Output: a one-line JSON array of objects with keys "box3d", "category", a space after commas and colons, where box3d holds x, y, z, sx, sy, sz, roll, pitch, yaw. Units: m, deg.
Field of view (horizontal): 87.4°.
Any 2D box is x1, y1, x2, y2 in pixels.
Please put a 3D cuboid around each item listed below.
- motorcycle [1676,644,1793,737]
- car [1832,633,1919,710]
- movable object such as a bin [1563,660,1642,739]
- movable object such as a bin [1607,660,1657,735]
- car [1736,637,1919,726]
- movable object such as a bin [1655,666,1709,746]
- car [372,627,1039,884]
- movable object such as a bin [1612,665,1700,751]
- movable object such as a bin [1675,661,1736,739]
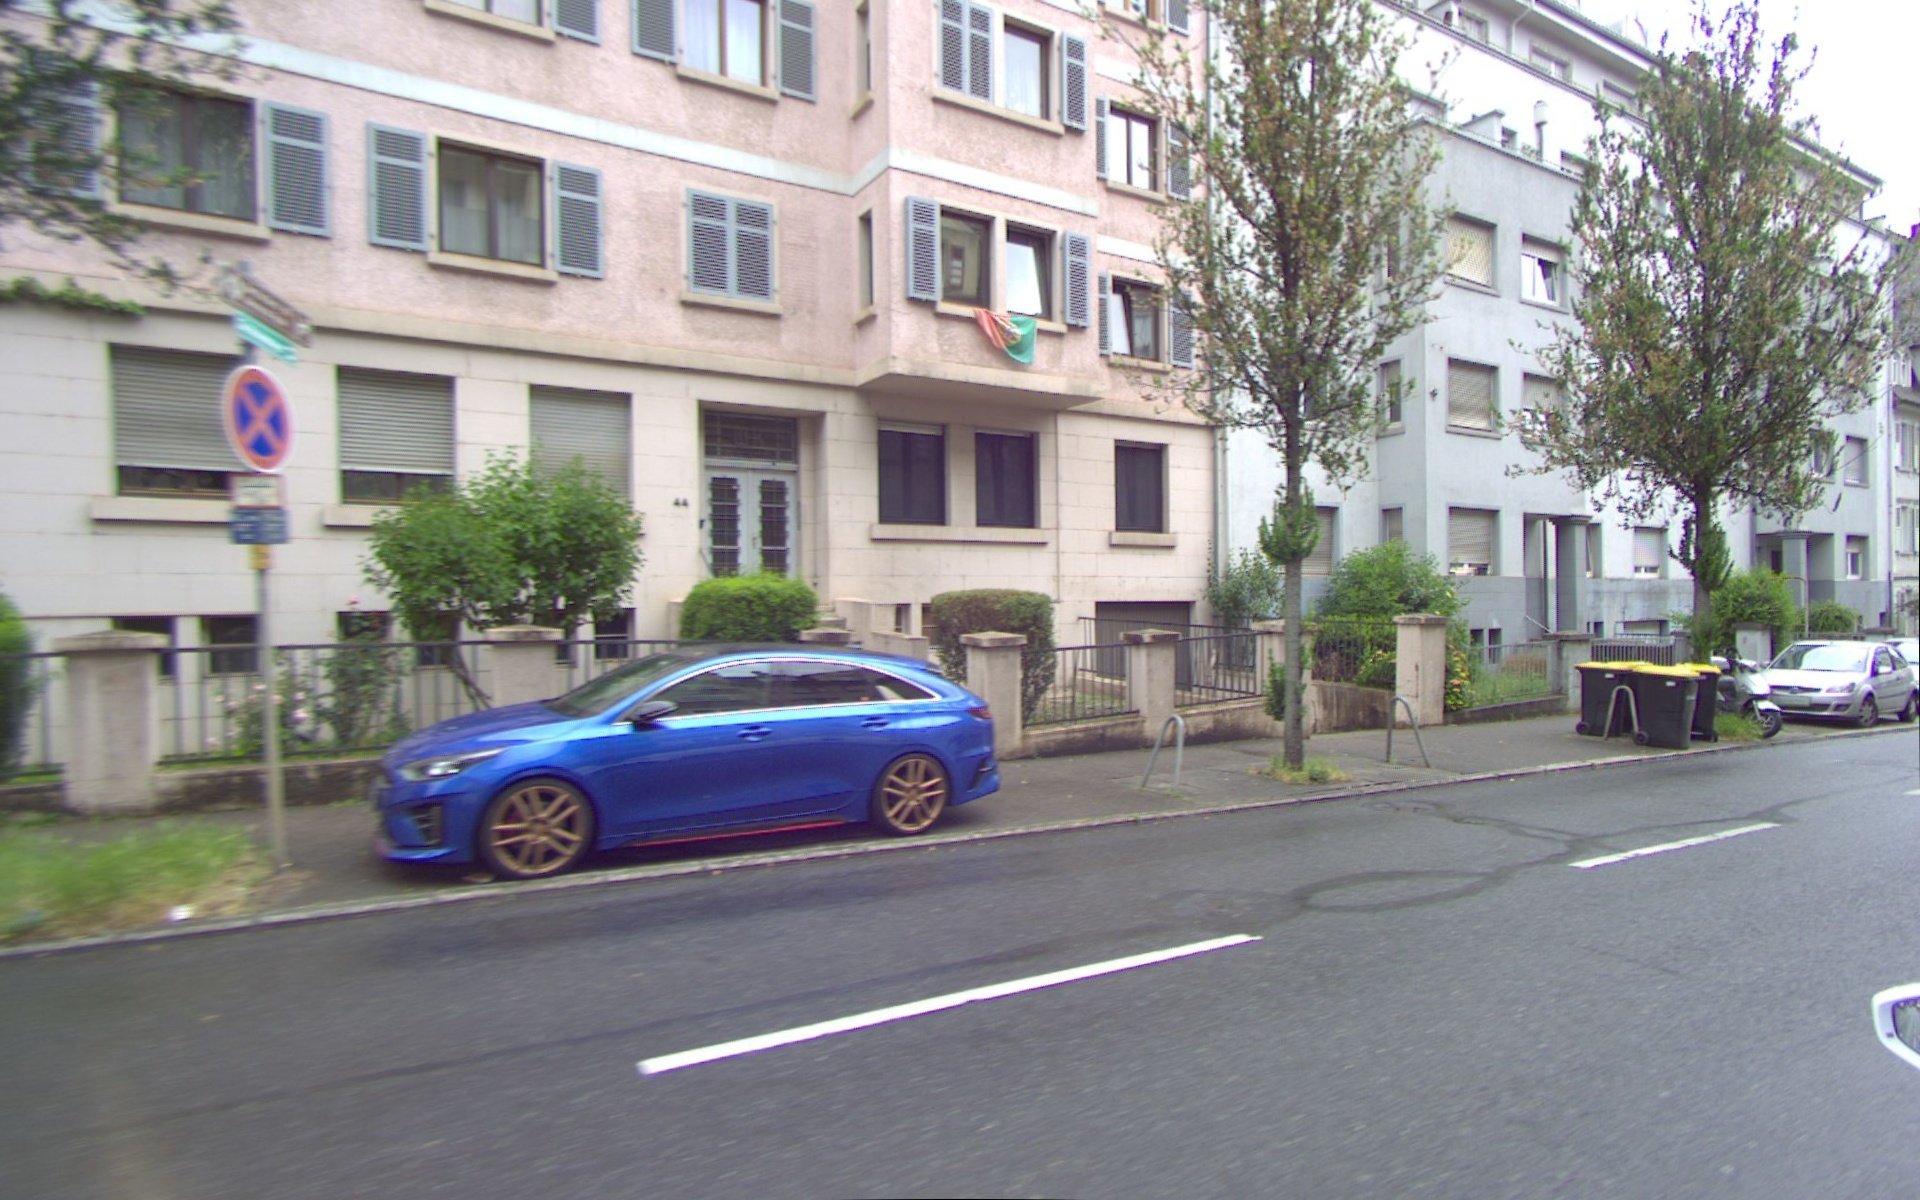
[{"box3d": [12.288, 1.398, 16.008, 0.727, 1.332, 1.812, 1, -1, 10], "category": "motorcycle"}, {"box3d": [20.204, 1.492, 21.068, 3.838, 1.470, 1.594, 2, -1, -28], "category": "car"}, {"box3d": [9.513, 1.456, 14.892, 0.478, 1.072, 0.821, 2, 1, -29], "category": "movable object such as a bin"}, {"box3d": [10.293, 1.481, 15.383, 0.479, 1.072, 0.467, 2, 2, -40], "category": "movable object such as a bin"}, {"box3d": [15.954, 1.445, 18.329, 3.845, 1.415, 1.592, 3, -1, -32], "category": "car"}, {"box3d": [10.366, 1.506, 14.420, 0.479, 1.072, 0.467, 2, 2, -40], "category": "movable object such as a bin"}, {"box3d": [-1.746, 0.977, 7.528, 4.551, 1.404, 1.670, 3, -2, -31], "category": "car"}, {"box3d": [9.621, 1.475, 13.895, 0.478, 1.072, 0.821, 2, 2, -29], "category": "movable object such as a bin"}, {"box3d": [10.992, 1.468, 14.821, 0.478, 1.072, 0.521, 2, 2, -30], "category": "movable object such as a bin"}]
